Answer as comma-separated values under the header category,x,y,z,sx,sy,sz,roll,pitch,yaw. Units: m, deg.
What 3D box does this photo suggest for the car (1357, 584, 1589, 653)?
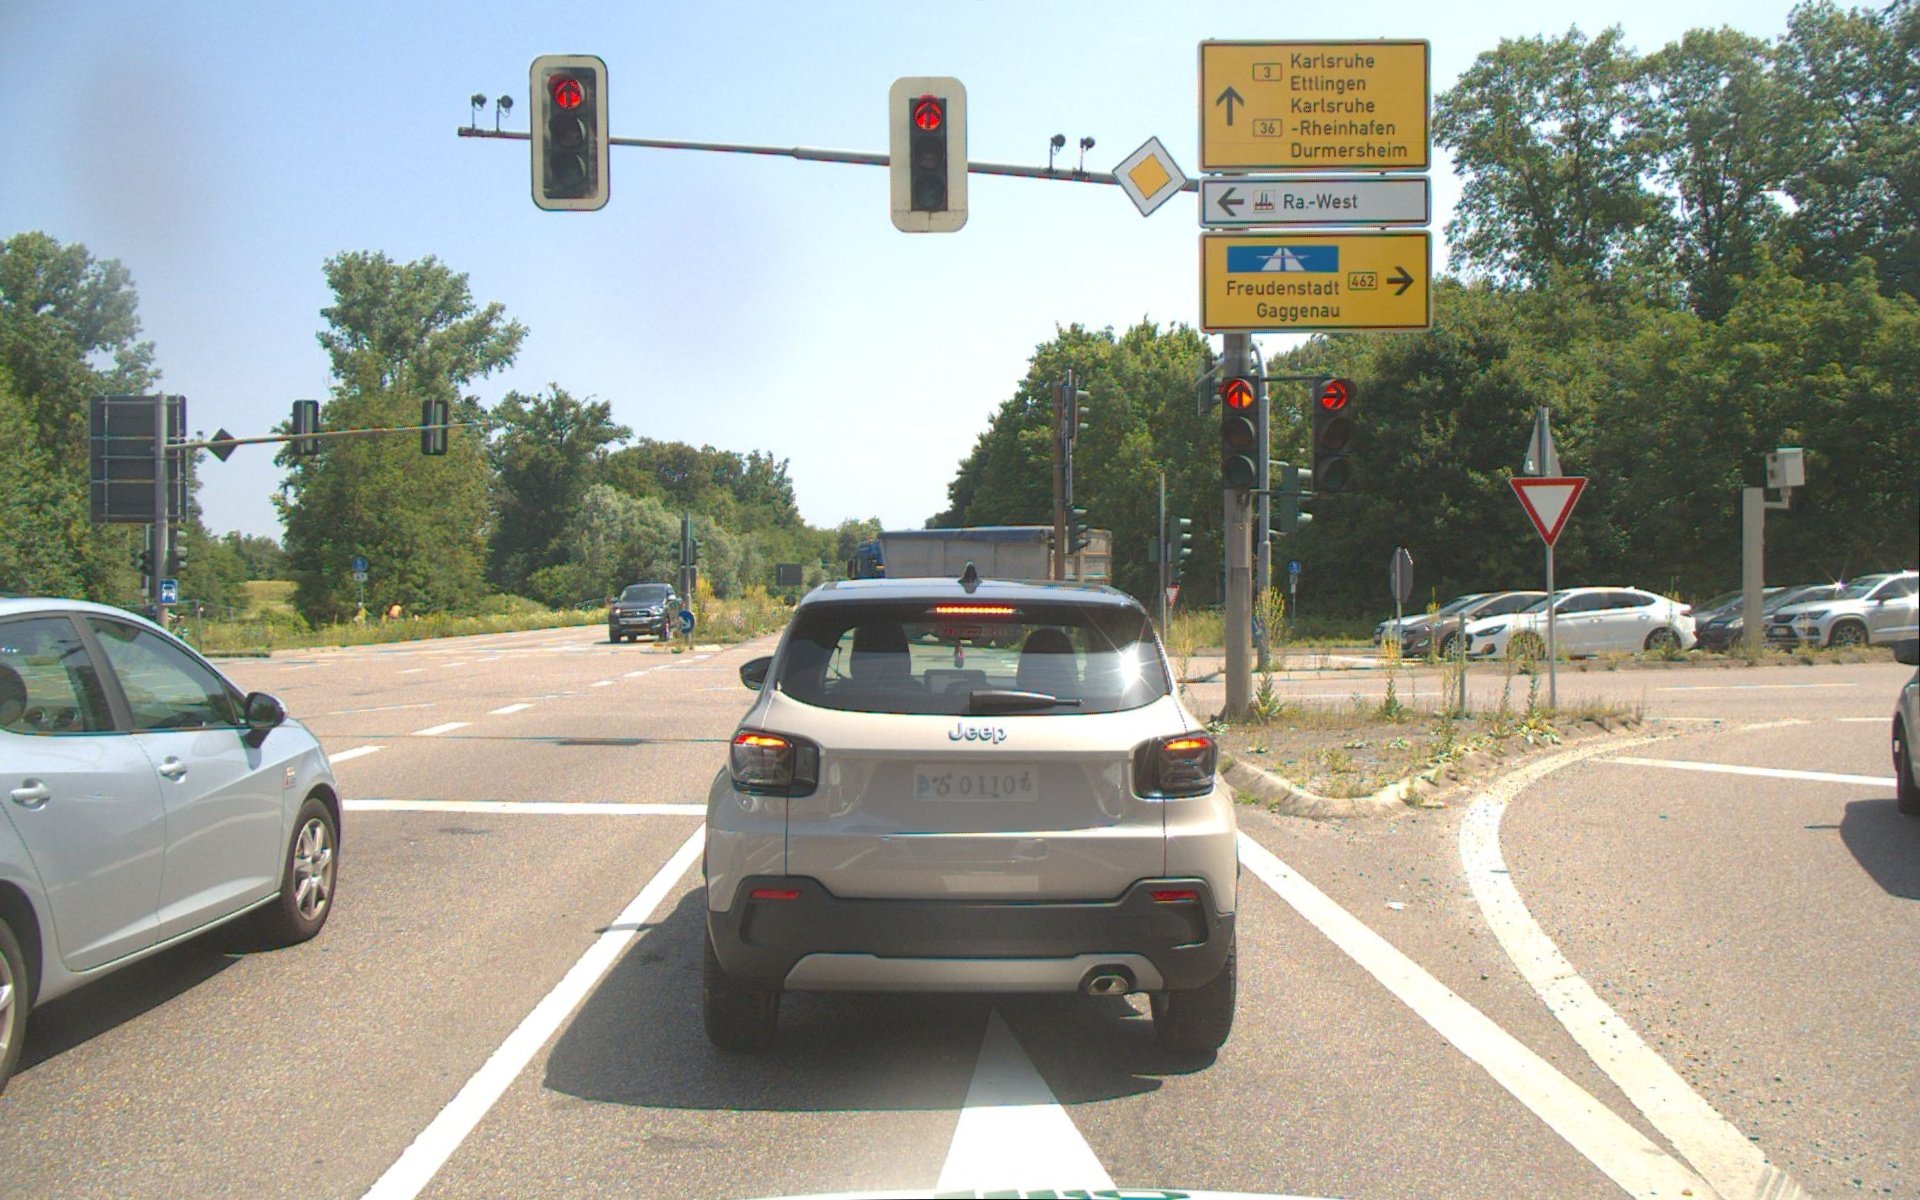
category,x,y,z,sx,sy,sz,roll,pitch,yaw
car,12.038,0.434,39.017,4.831,1.525,2.020,-1,-1,-1

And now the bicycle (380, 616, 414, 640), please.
category,x,y,z,sx,sy,sz,roll,pitch,yaw
bicycle,-25.556,1.247,75.083,0.661,1.022,1.802,-1,0,8

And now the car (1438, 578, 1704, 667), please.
category,x,y,z,sx,sy,sz,roll,pitch,yaw
car,11.590,0.407,31.561,4.331,1.562,1.999,-1,0,-3

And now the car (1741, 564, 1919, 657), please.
category,x,y,z,sx,sy,sz,roll,pitch,yaw
car,17.652,0.180,32.027,4.088,1.688,1.999,-1,0,-2

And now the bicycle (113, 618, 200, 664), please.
category,x,y,z,sx,sy,sz,roll,pitch,yaw
bicycle,-20.164,1.026,41.546,0.709,1.082,1.863,-1,0,35

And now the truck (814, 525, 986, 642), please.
category,x,y,z,sx,sy,sz,roll,pitch,yaw
truck,-2.277,-0.570,60.740,3.306,4.058,6.451,1,0,-36

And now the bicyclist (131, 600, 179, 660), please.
category,x,y,z,sx,sy,sz,roll,pitch,yaw
bicyclist,-20.211,0.744,41.523,0.908,1.485,0.713,-1,0,36

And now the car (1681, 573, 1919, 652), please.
category,x,y,z,sx,sy,sz,roll,pitch,yaw
car,17.939,0.267,35.103,4.330,1.562,2.121,-1,-1,-2

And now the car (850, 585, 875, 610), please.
category,x,y,z,sx,sy,sz,roll,pitch,yaw
car,-8.401,-0.206,142.931,1.953,2.049,4.553,-1,0,-1

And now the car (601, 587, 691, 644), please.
category,x,y,z,sx,sy,sz,roll,pitch,yaw
car,-10.162,0.465,53.896,1.953,1.707,5.364,-2,0,-1

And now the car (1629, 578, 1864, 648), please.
category,x,y,z,sx,sy,sz,roll,pitch,yaw
car,18.391,0.302,38.826,4.523,1.525,2.111,-1,-1,-2

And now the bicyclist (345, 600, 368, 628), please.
category,x,y,z,sx,sy,sz,roll,pitch,yaw
bicyclist,-26.949,0.636,73.870,0.719,1.216,0.592,-1,0,9

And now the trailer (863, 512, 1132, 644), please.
category,x,y,z,sx,sy,sz,roll,pitch,yaw
trailer,1.006,-0.689,56.086,3.356,4.058,10.665,1,0,-36

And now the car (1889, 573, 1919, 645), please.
category,x,y,z,sx,sy,sz,roll,pitch,yaw
car,23.319,0.130,35.985,5.025,1.560,2.137,-1,-1,-2

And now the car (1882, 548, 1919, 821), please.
category,x,y,z,sx,sy,sz,roll,pitch,yaw
car,6.930,0.564,10.066,1.720,1.804,4.113,0,0,21

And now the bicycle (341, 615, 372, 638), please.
category,x,y,z,sx,sy,sz,roll,pitch,yaw
bicycle,-26.925,1.180,73.848,0.591,1.023,1.557,-1,0,9

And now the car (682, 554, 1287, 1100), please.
category,x,y,z,sx,sy,sz,roll,pitch,yaw
car,0.045,0.647,6.758,1.731,1.561,3.999,0,0,-1

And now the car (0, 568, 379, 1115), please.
category,x,y,z,sx,sy,sz,roll,pitch,yaw
car,-3.372,0.624,5.392,1.632,1.455,3.827,1,0,-1

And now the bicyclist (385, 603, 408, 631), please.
category,x,y,z,sx,sy,sz,roll,pitch,yaw
bicyclist,-25.569,0.764,75.027,0.741,1.216,0.592,-1,0,9

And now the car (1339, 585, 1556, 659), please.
category,x,y,z,sx,sy,sz,roll,pitch,yaw
car,10.380,0.449,35.375,4.011,1.472,1.994,-1,0,-4
